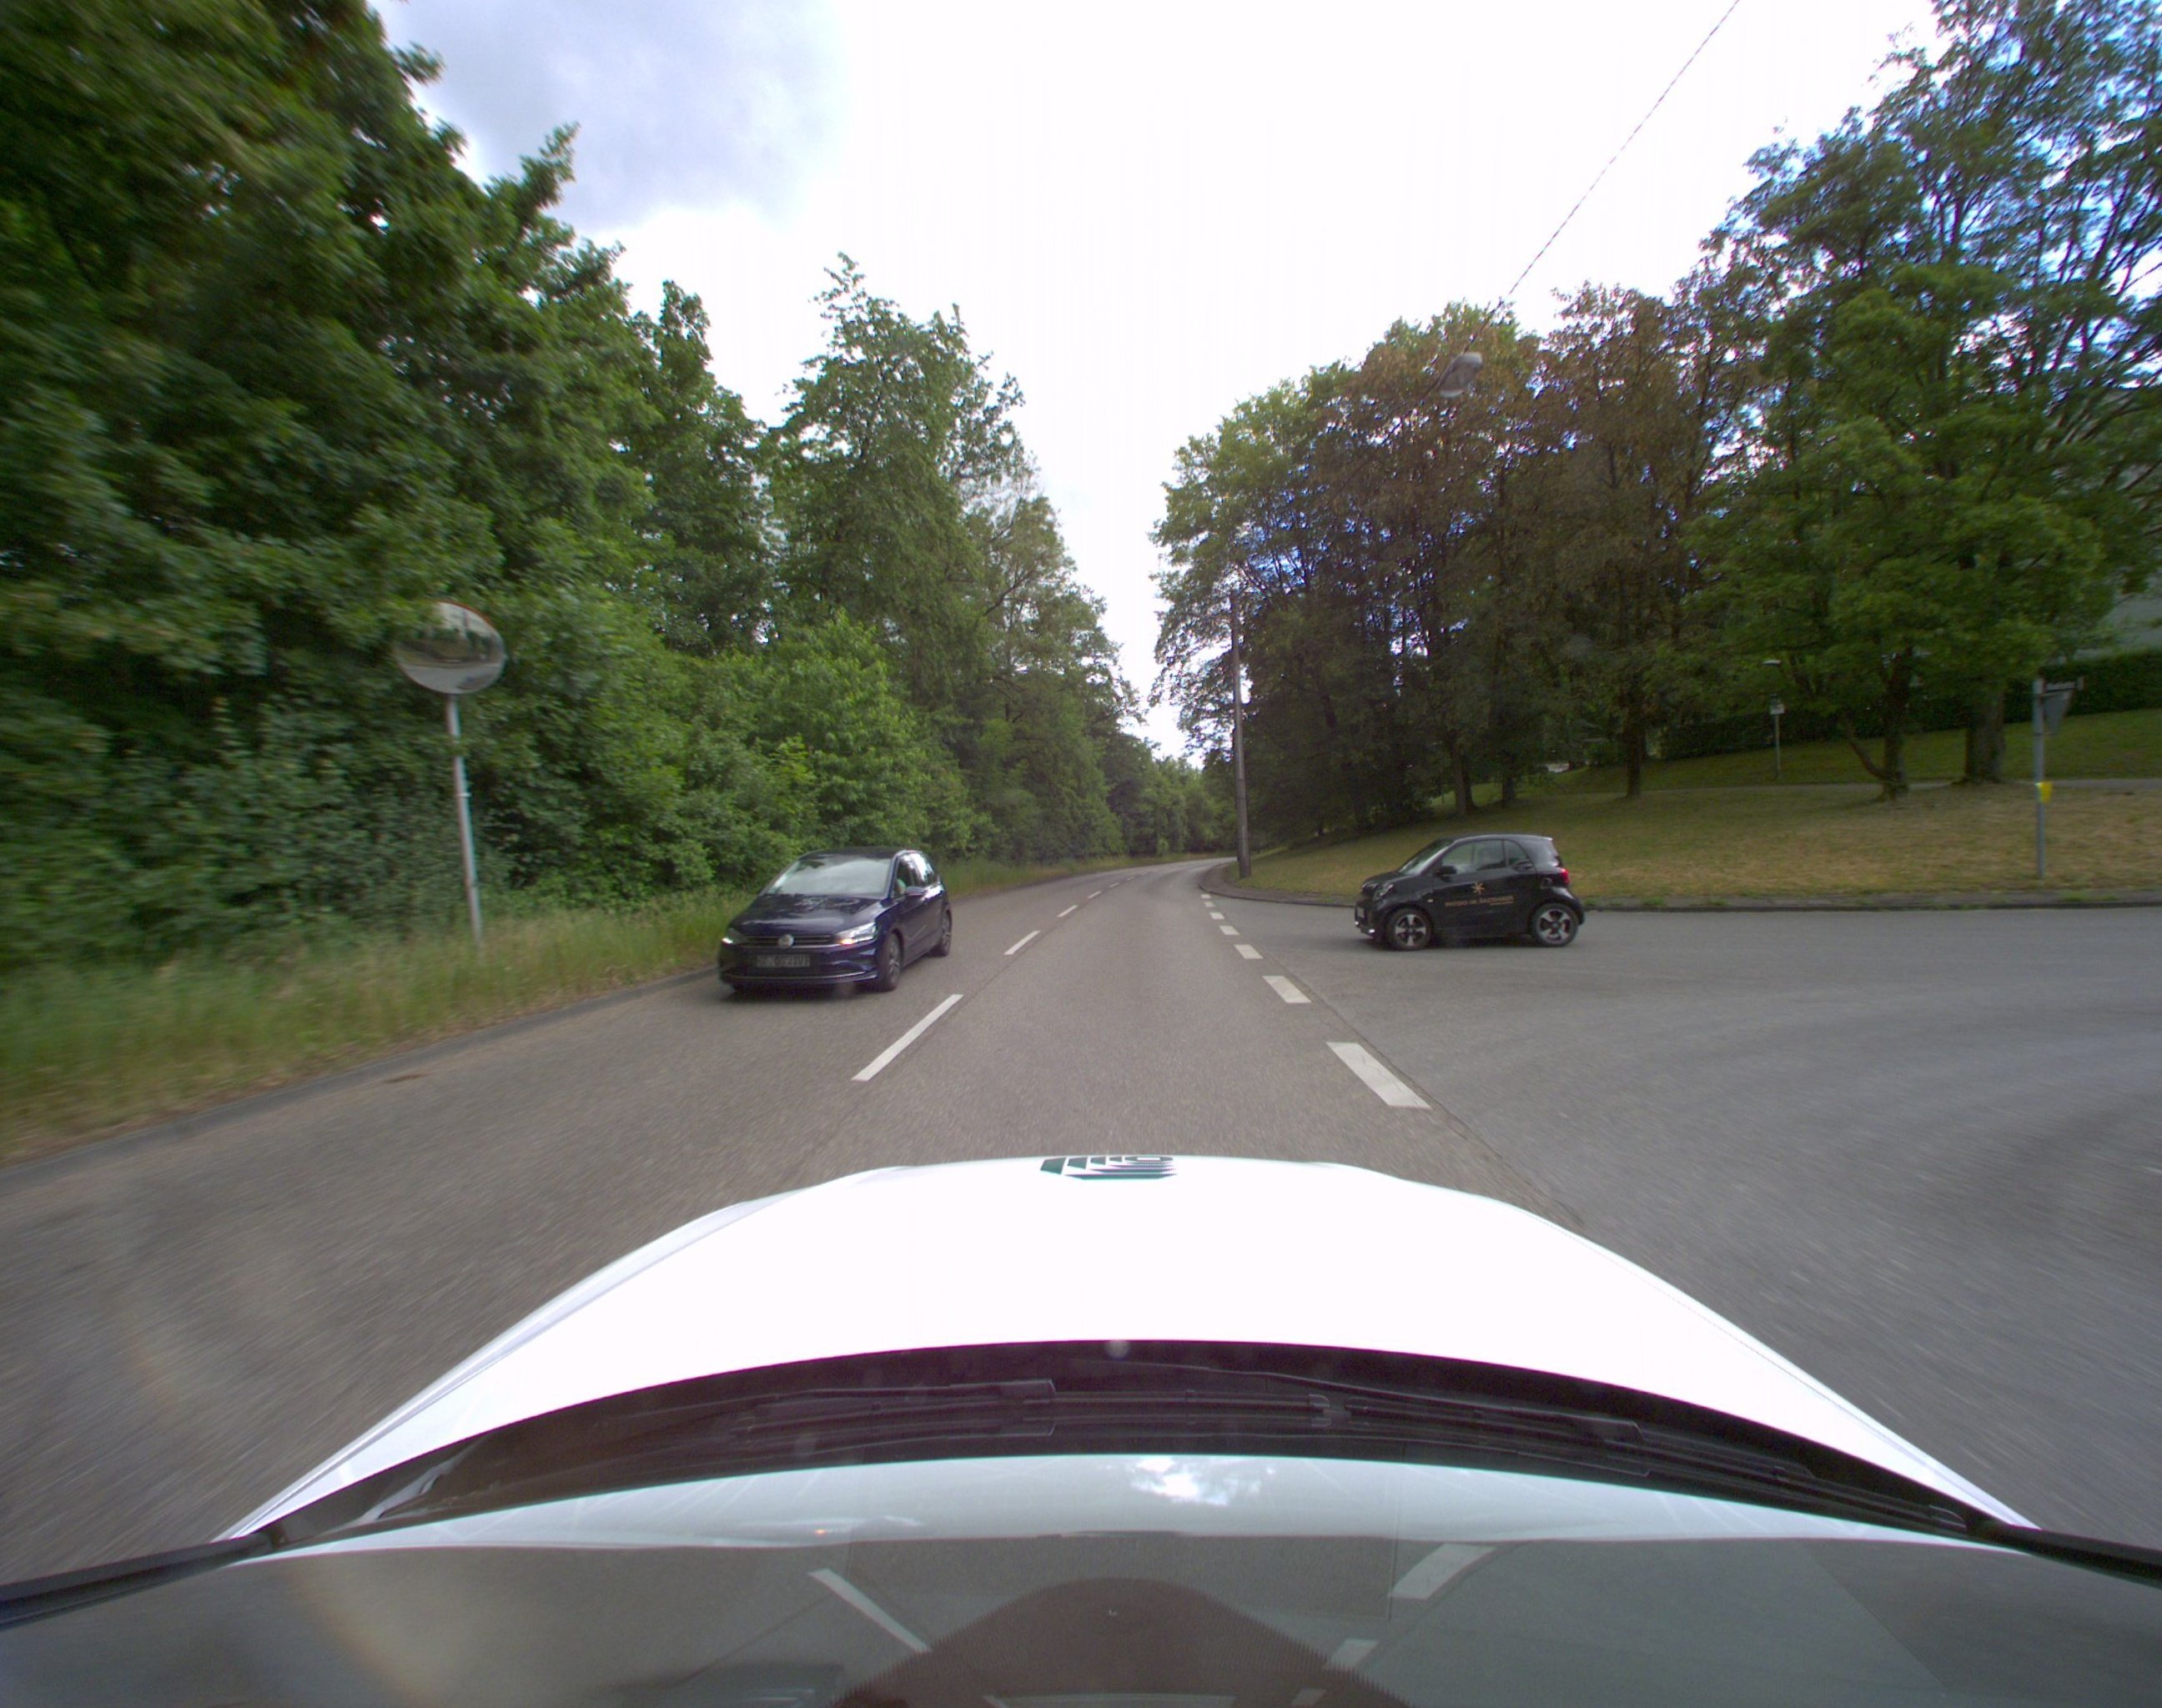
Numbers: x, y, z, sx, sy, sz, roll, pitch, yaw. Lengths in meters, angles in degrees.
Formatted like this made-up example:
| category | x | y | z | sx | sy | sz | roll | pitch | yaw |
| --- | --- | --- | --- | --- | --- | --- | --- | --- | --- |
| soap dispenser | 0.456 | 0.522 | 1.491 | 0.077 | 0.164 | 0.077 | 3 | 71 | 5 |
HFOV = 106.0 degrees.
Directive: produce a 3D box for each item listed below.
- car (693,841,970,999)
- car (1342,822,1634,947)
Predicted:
| category | x | y | z | sx | sy | sz | roll | pitch | yaw |
| --- | --- | --- | --- | --- | --- | --- | --- | --- | --- |
| car | -2.775 | 0.614 | 10.368 | 1.781 | 1.514 | 4.846 | -1 | 1 | 3 |
| car | 5.572 | 0.412 | 11.513 | 3.285 | 1.494 | 1.671 | -3 | 0 | 7 |
